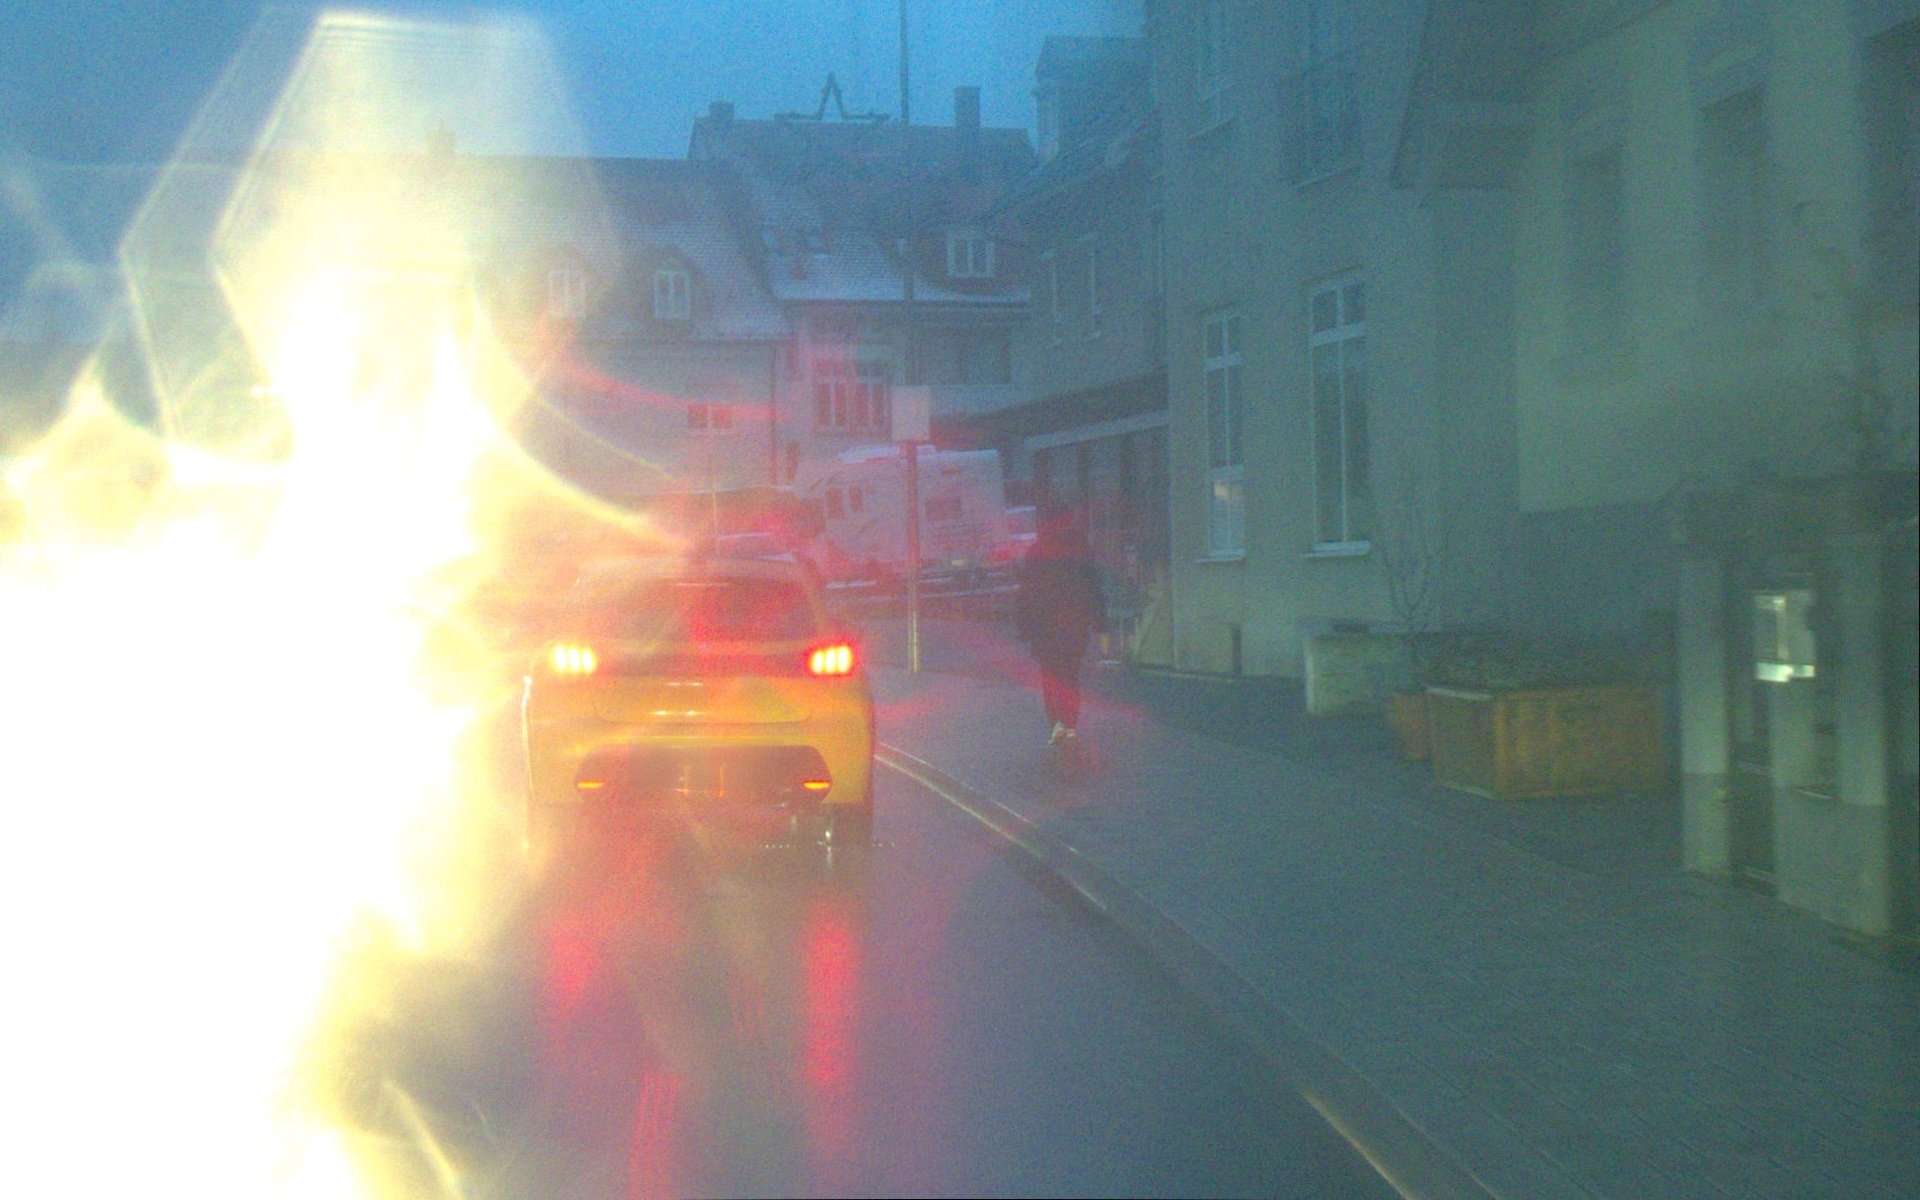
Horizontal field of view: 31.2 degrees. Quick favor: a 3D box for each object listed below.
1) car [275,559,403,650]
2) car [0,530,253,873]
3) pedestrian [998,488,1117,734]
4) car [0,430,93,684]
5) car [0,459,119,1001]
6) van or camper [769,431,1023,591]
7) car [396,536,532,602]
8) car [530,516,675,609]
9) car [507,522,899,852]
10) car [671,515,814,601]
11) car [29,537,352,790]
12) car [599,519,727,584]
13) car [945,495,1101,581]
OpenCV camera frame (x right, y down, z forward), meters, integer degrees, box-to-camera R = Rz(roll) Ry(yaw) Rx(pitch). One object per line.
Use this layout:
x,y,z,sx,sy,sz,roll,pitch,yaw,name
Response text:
-11.309,0.059,62.443,1.993,1.583,4.001,1,1,-14,car
-4.856,0.456,17.675,1.857,1.550,4.258,-1,0,-4,car
0.689,0.065,24.607,0.745,1.723,0.873,-1,2,-5,pedestrian
-11.128,-0.462,37.751,2.485,2.551,6.763,1,0,-9,car
-3.836,0.428,10.200,1.951,1.541,4.417,-2,4,-6,car
-1.434,-1.828,71.608,2.650,3.037,6.736,-4,2,-24,van or camper
-11.410,-0.728,78.960,1.886,1.457,3.634,-1,1,-29,car
-7.350,-0.783,70.288,1.993,1.759,4.352,-3,2,-18,car
-1.371,0.388,18.089,1.814,1.528,4.001,1,1,-5,car
-4.505,-0.837,70.742,1.993,1.605,4.175,-3,0,-16,car
-5.399,0.360,24.040,1.993,1.550,4.259,-1,2,-13,car
-7.165,-1.187,82.440,1.822,1.457,4.550,-3,2,-21,car
1.268,-1.286,71.480,1.788,1.548,4.001,-7,3,-20,car
